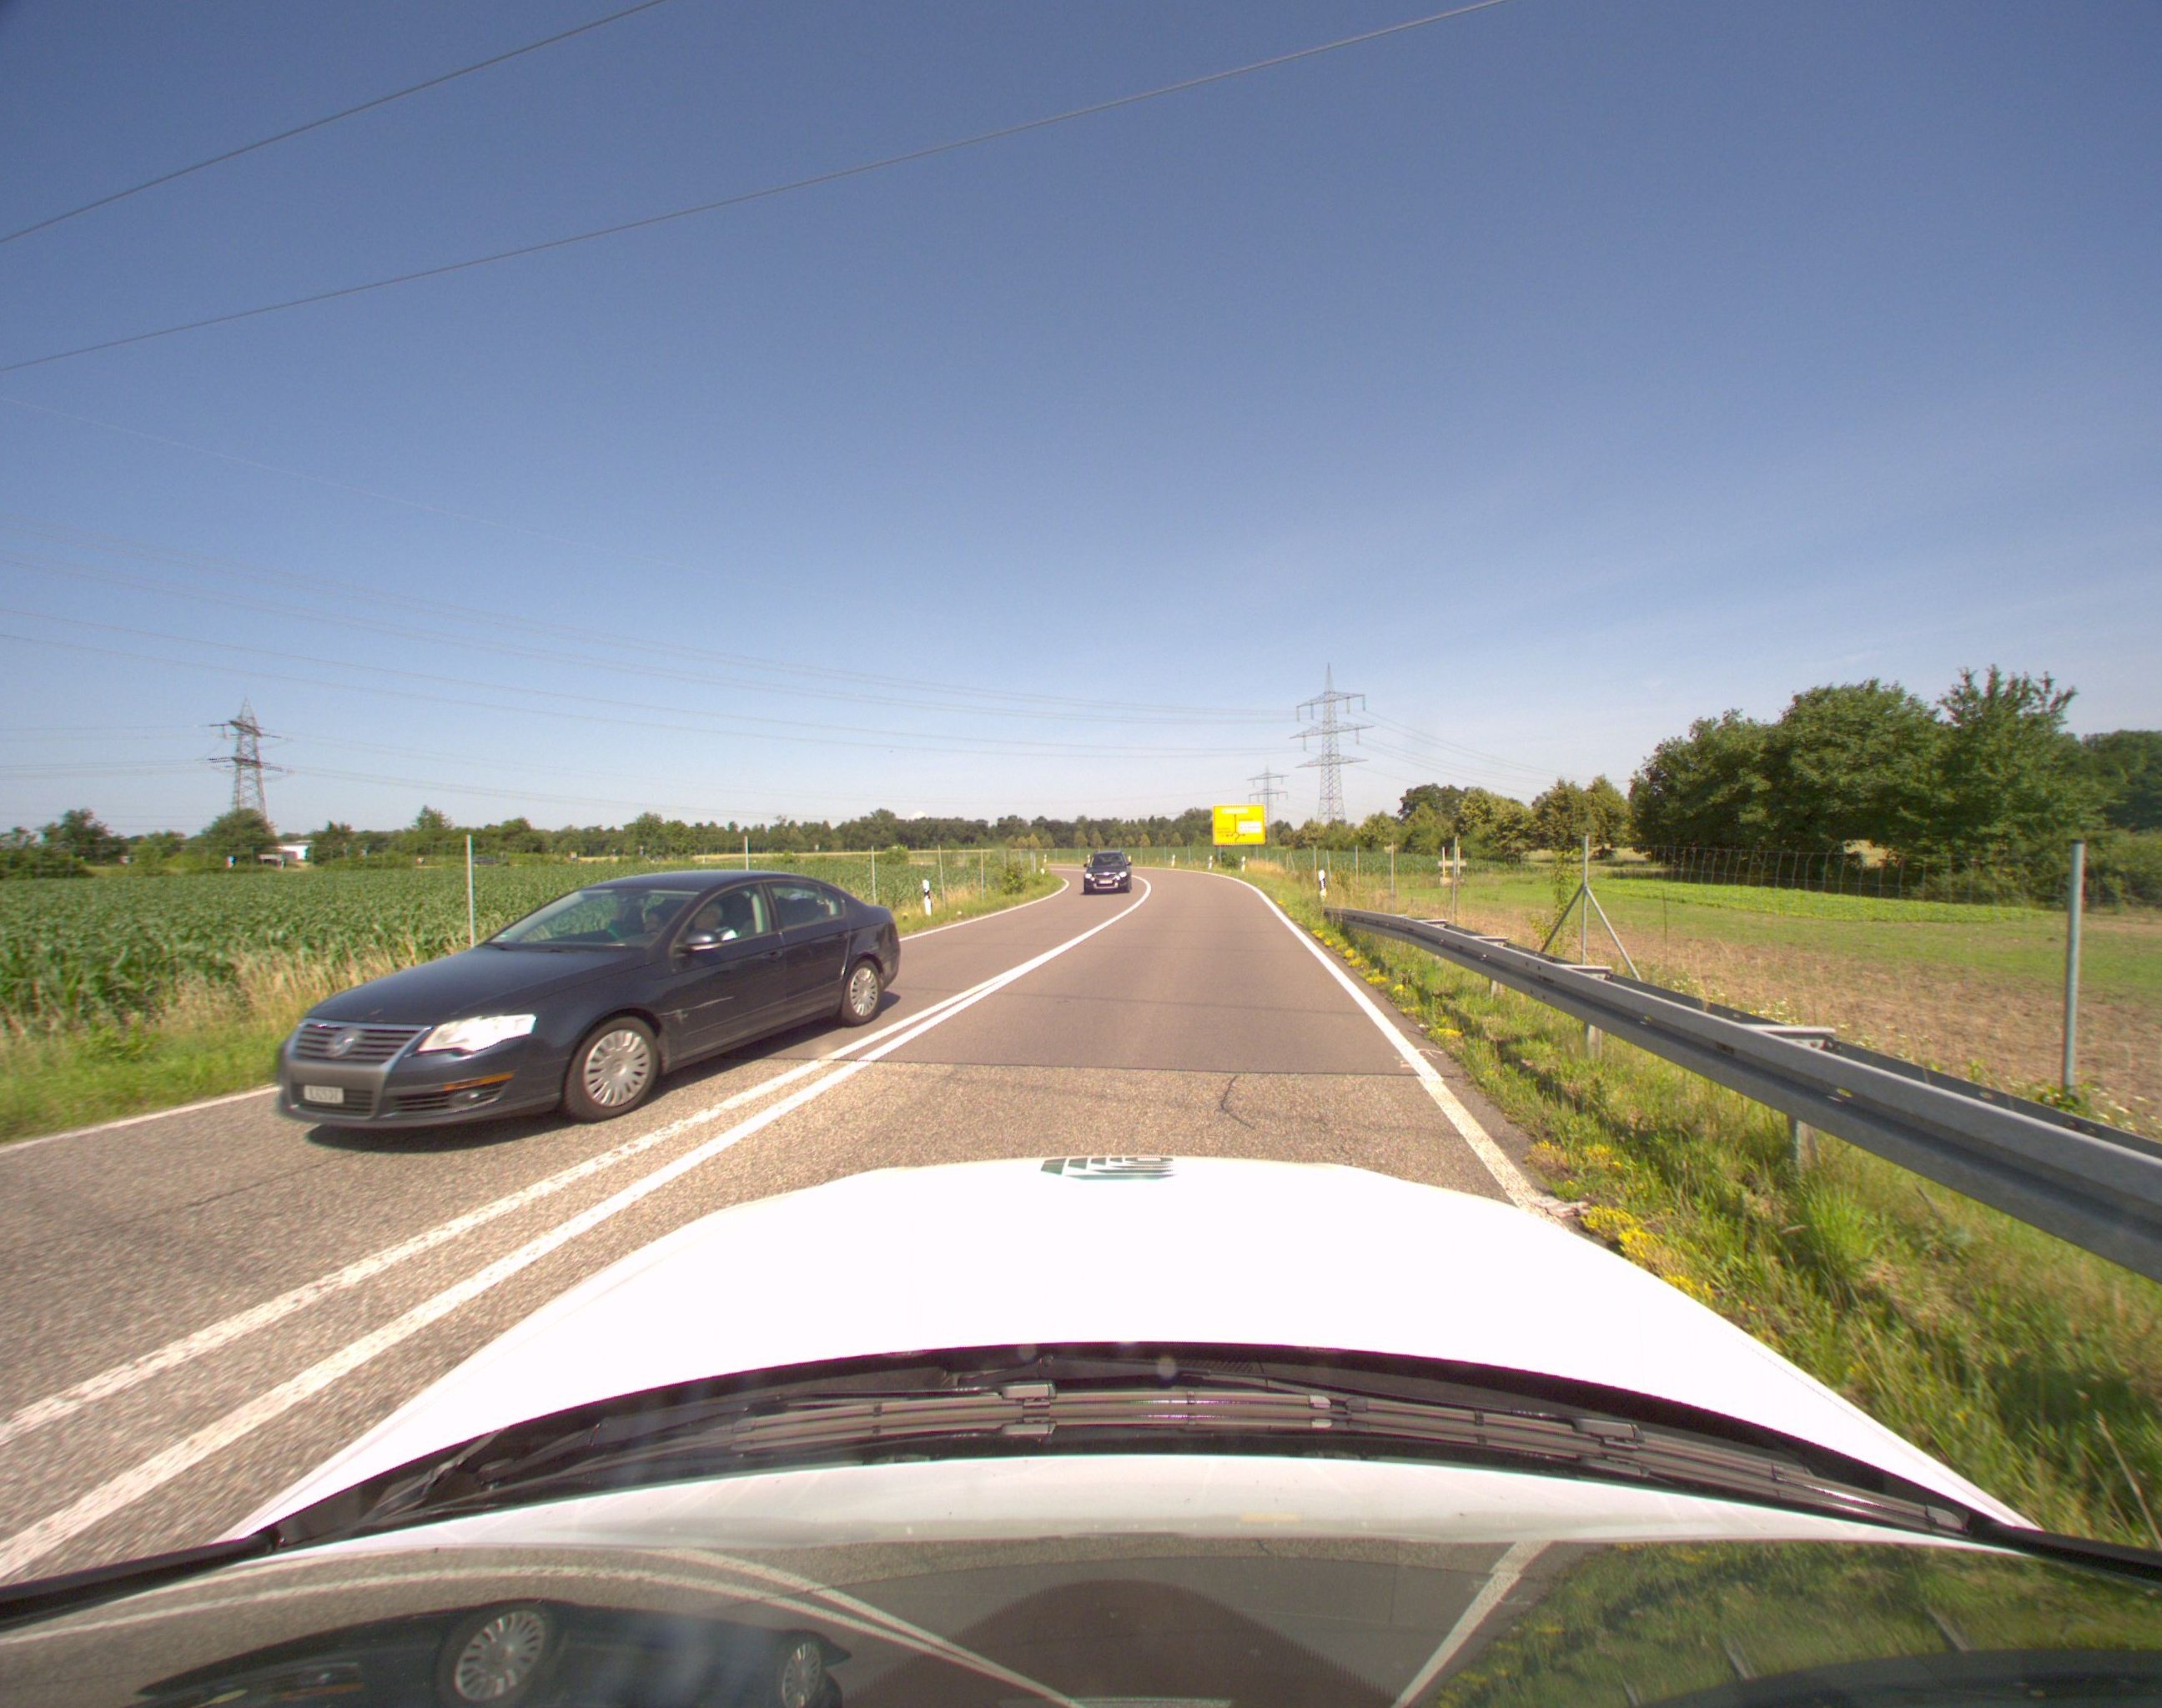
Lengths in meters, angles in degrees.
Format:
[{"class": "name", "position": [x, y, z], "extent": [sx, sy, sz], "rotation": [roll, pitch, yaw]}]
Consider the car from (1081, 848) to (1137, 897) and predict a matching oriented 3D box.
[{"class": "car", "position": [1.108, 0.684, 32.688], "extent": [1.976, 1.706, 4.262], "rotation": [-3, 0, 1]}]

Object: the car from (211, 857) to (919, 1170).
[{"class": "car", "position": [-3.175, 0.799, 6.361], "extent": [1.761, 1.456, 4.612], "rotation": [-2, 0, 16]}]
